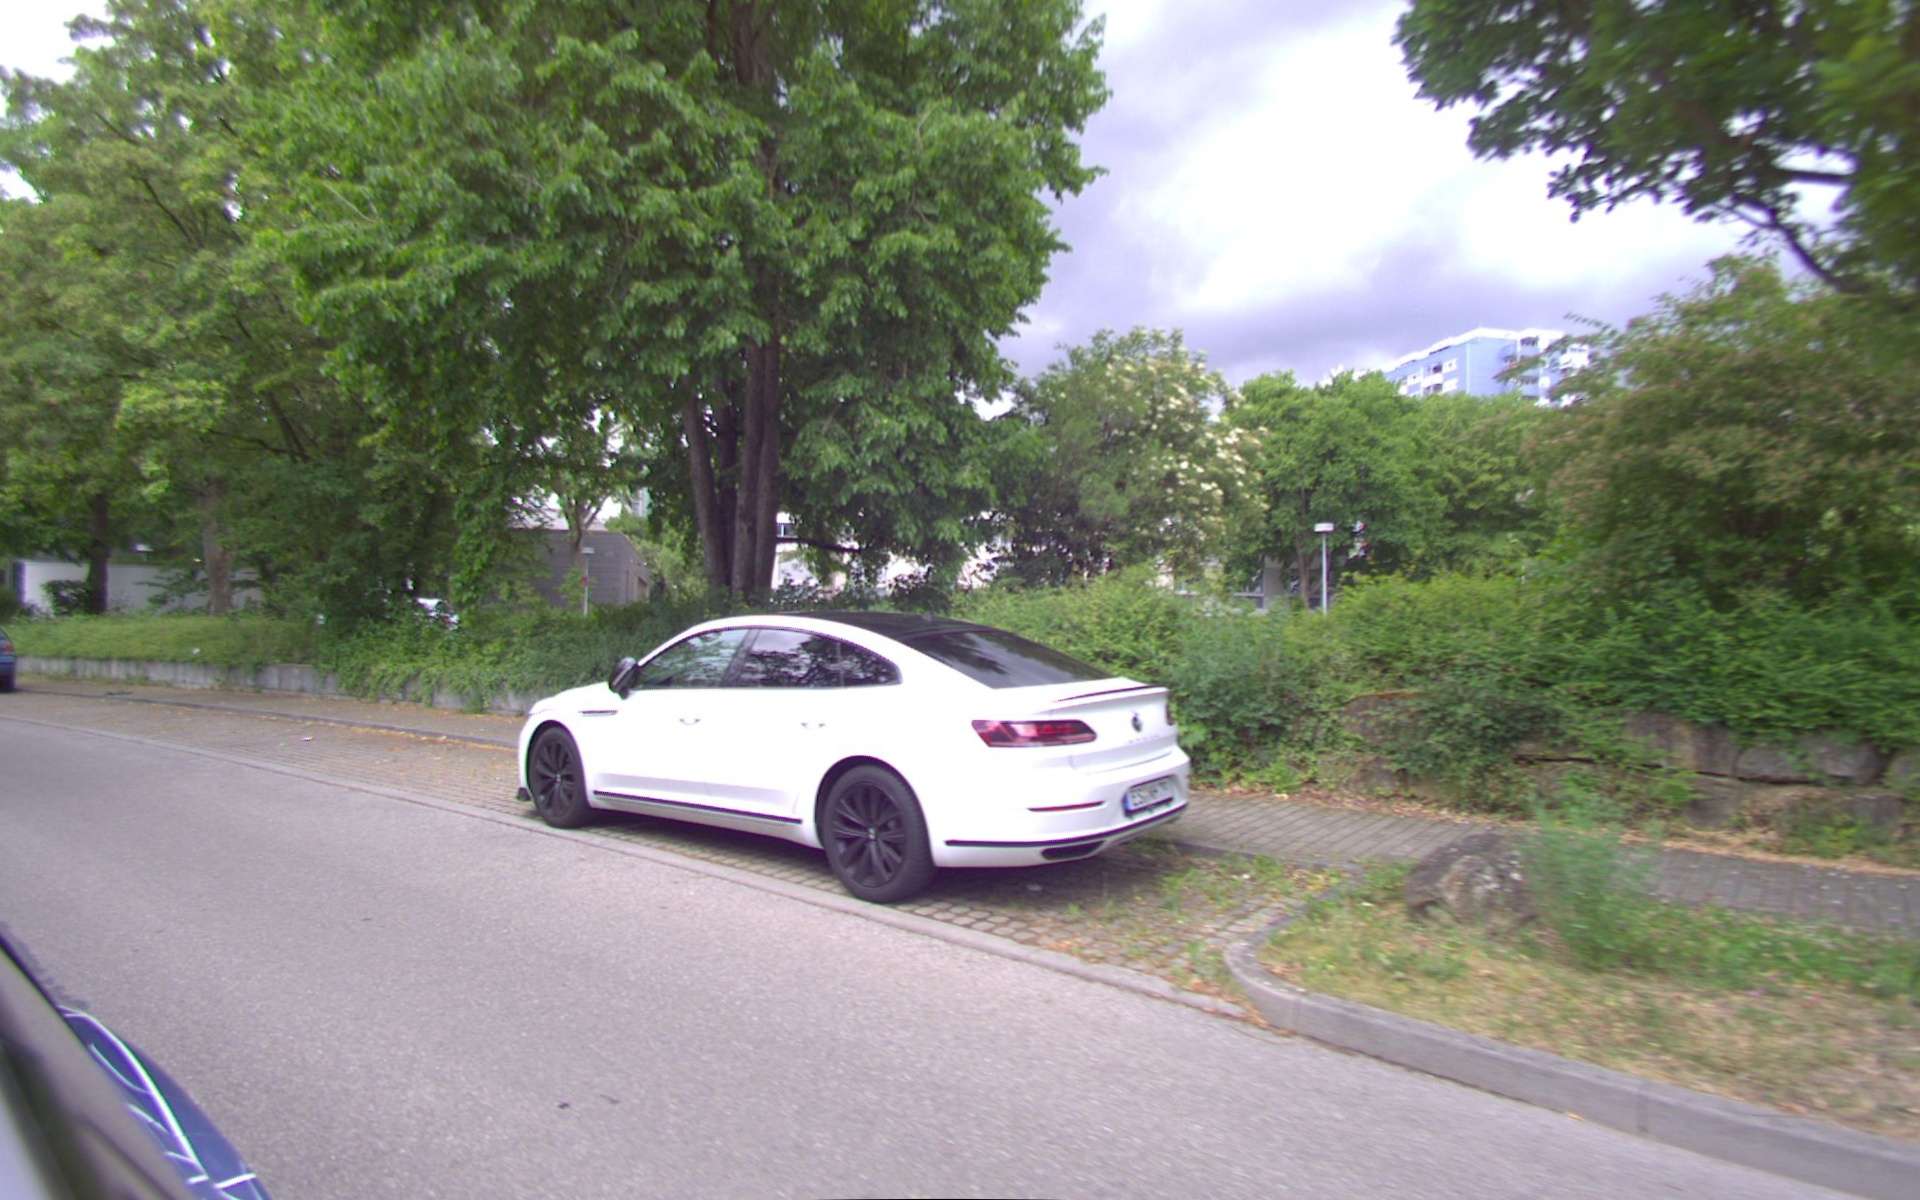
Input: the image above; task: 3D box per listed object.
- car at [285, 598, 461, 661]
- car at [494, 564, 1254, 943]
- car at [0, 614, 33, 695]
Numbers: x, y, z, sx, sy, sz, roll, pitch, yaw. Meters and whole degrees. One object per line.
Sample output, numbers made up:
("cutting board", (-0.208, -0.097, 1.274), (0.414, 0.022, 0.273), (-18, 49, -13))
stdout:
("car", (-16.157, 0.777, 28.033), (3.751, 1.650, 2.004), (0, 0, -8))
("car", (-0.790, 0.656, 6.183), (4.629, 1.503, 1.830), (-1, -2, 38))
("car", (-19.918, 1.040, 19.371), (3.977, 1.503, 1.838), (-1, -1, 25))
